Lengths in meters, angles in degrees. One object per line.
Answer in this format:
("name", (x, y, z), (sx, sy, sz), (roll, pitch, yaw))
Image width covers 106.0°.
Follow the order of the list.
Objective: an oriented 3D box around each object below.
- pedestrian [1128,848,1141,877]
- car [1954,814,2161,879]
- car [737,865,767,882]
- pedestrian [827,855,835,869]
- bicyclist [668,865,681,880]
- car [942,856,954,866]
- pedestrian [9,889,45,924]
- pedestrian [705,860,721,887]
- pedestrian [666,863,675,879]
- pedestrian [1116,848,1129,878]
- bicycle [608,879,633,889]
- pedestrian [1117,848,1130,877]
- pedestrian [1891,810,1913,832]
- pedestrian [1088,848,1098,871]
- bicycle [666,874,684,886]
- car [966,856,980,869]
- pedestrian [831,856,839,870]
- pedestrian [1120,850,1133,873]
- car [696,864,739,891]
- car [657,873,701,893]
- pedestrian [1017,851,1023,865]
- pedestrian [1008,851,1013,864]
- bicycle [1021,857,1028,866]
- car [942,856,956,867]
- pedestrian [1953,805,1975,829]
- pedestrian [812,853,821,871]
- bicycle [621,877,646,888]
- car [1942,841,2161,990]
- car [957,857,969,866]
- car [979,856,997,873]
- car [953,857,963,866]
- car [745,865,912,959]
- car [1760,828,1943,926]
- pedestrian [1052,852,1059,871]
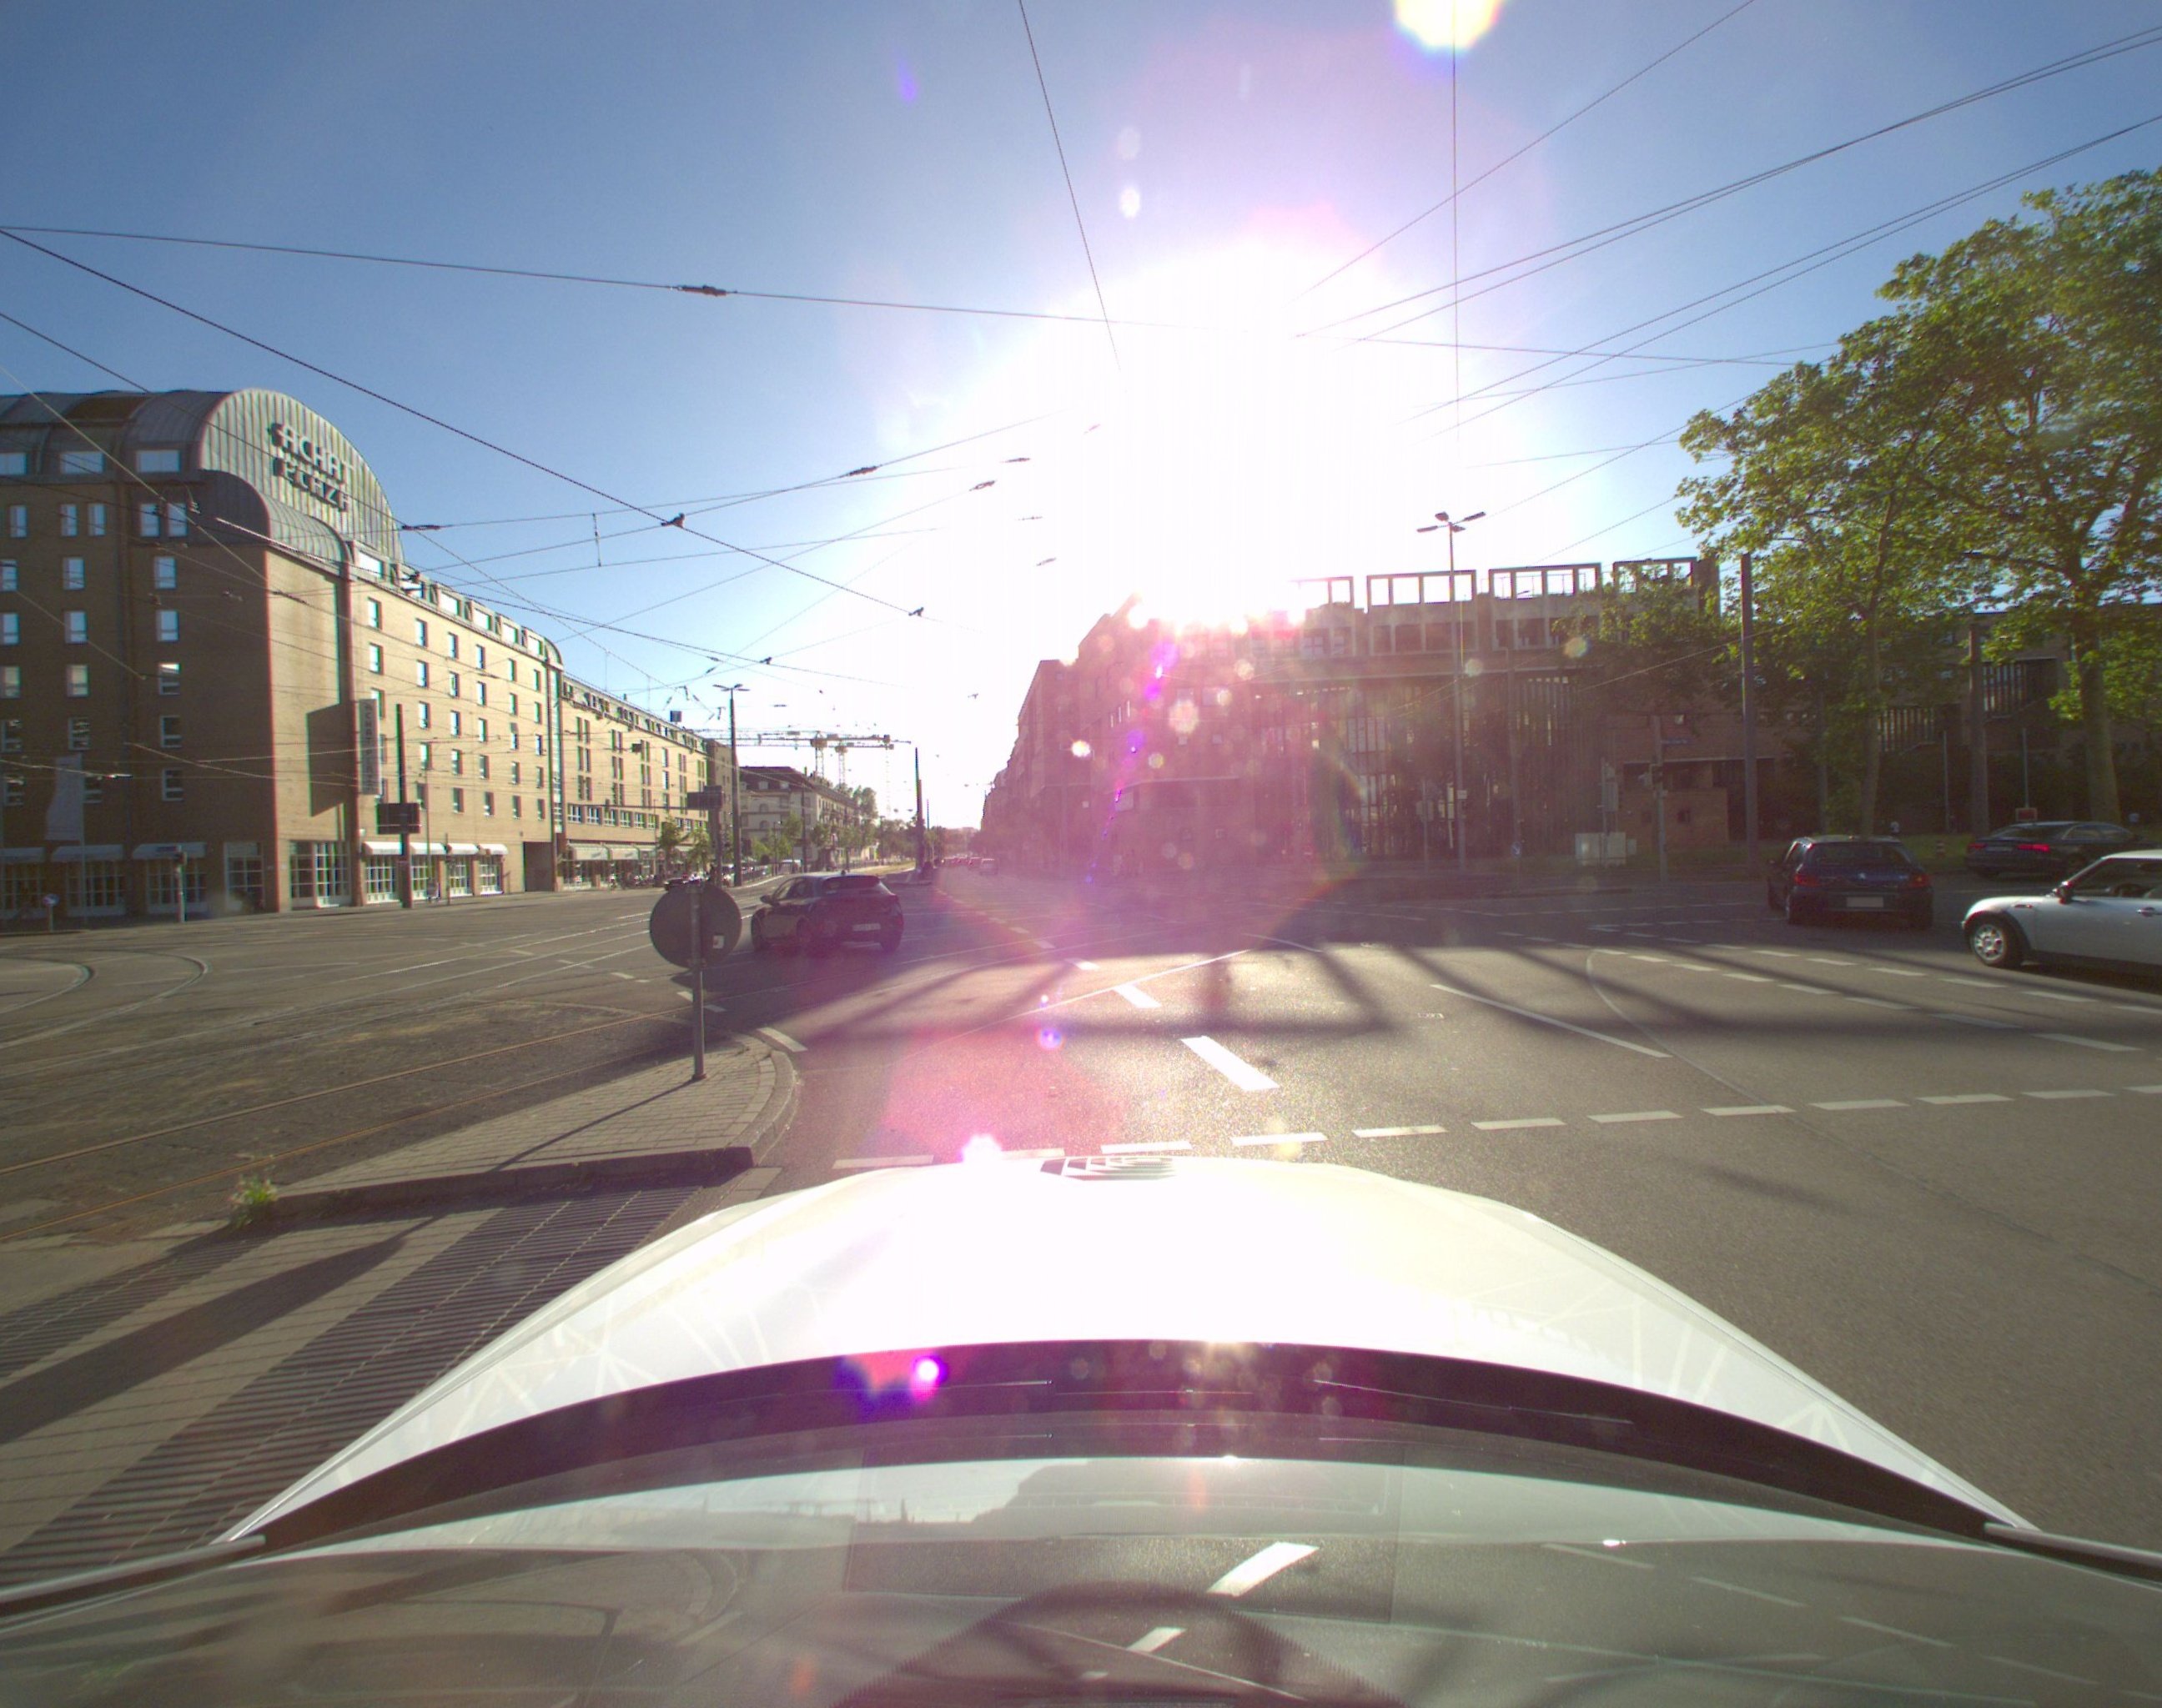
("pedestrian", (3.429, 0.530, 51.923), (0.573, 1.786, 0.546), (-3, 0, -16))
("car", (24.108, -0.183, 19.951), (4.002, 1.440, 1.696), (-1, 0, -7))
("car", (-33.622, 1.976, 83.276), (1.839, 1.448, 4.284), (-4, 0, -10))
("pedestrian", (-30.316, 0.921, 98.909), (0.863, 1.670, 0.779), (-2, 1, -19))
("bicyclist", (-38.895, 1.808, 77.910), (0.810, 1.376, 0.922), (-3, 0, -10))
("car", (-20.749, 1.146, 127.454), (1.720, 1.453, 3.687), (-3, 0, -8))
("pedestrian", (-52.545, 2.617, 40.597), (0.750, 1.665, 0.739), (-2, 1, -6))
("pedestrian", (-23.848, 1.256, 52.744), (0.720, 1.727, 0.593), (-2, 0, -8))
("pedestrian", (-46.745, 1.958, 92.744), (0.715, 1.764, 0.564), (-3, 0, -6))
("pedestrian", (2.555, 0.560, 50.511), (0.573, 1.786, 0.546), (-3, 0, -16))
("bicycle", (-42.311, 2.735, 74.838), (2.026, 0.845, 0.483), (-3, 0, 1))
("pedestrian", (2.681, 0.558, 51.271), (0.573, 1.786, 0.546), (-3, 0, -16))
("pedestrian", (55.418, -2.231, 54.975), (0.684, 1.384, 0.811), (-2, 0, -6))
("pedestrian", (1.009, 0.457, 66.676), (0.639, 1.786, 0.687), (-3, 0, -6))
("bicycle", (-38.865, 2.463, 77.946), (0.810, 0.991, 2.500), (-3, 0, -9))
("car", (-13.598, 1.048, 102.270), (1.670, 1.453, 3.687), (-3, 0, -8))
("pedestrian", (-29.718, 1.124, 98.464), (0.863, 1.670, 0.733), (-2, 1, -19))
("pedestrian", (2.951, 0.495, 52.825), (0.550, 1.477, 0.568), (-2, 1, -26))
("car", (-27.716, 1.750, 62.241), (1.838, 1.835, 4.095), (-4, 0, -9))
("car", (-30.869, 2.183, 62.658), (1.839, 1.268, 4.215), (-4, 0, -10))
("pedestrian", (-7.617, 0.490, 101.050), (0.640, 1.786, 0.687), (-3, 0, -8))
("pedestrian", (-10.469, 0.518, 121.671), (0.639, 1.786, 0.687), (-3, 0, -6))
("bicycle", (-6.703, 0.895, 96.943), (0.648, 0.904, 2.340), (-2, 1, -7))
("car", (-18.878, 1.069, 116.645), (1.720, 1.453, 3.687), (-3, 0, -8))
("pedestrian", (61.916, -2.584, 57.115), (0.687, 1.606, 0.807), (-2, 0, -21))
("pedestrian", (-29.234, 0.857, 89.982), (0.863, 1.886, 0.733), (-2, 1, -19))
("bicycle", (-42.593, 2.691, 77.542), (2.026, 0.920, 0.483), (-3, 0, 1))
("car", (11.107, 0.573, 8.114), (1.651, 1.388, 3.545), (-1, 0, 9))
("car", (-19.535, 1.272, 134.863), (1.720, 1.453, 3.687), (-3, 0, -8))
("car", (-8.720, 0.966, 76.601), (1.558, 1.456, 3.424), (-2, 0, -7))
("car", (-21.788, 1.271, 144.475), (1.720, 1.453, 3.687), (-3, 0, -8))
("car", (-4.773, 0.966, 15.110), (1.686, 1.502, 3.647), (1, -1, -40))
("car", (13.430, 0.318, 14.454), (1.843, 1.474, 4.003), (-2, 0, 36))
("pedestrian", (-2.462, 0.691, 77.890), (0.546, 1.785, 0.572), (-2, 3, -6))
